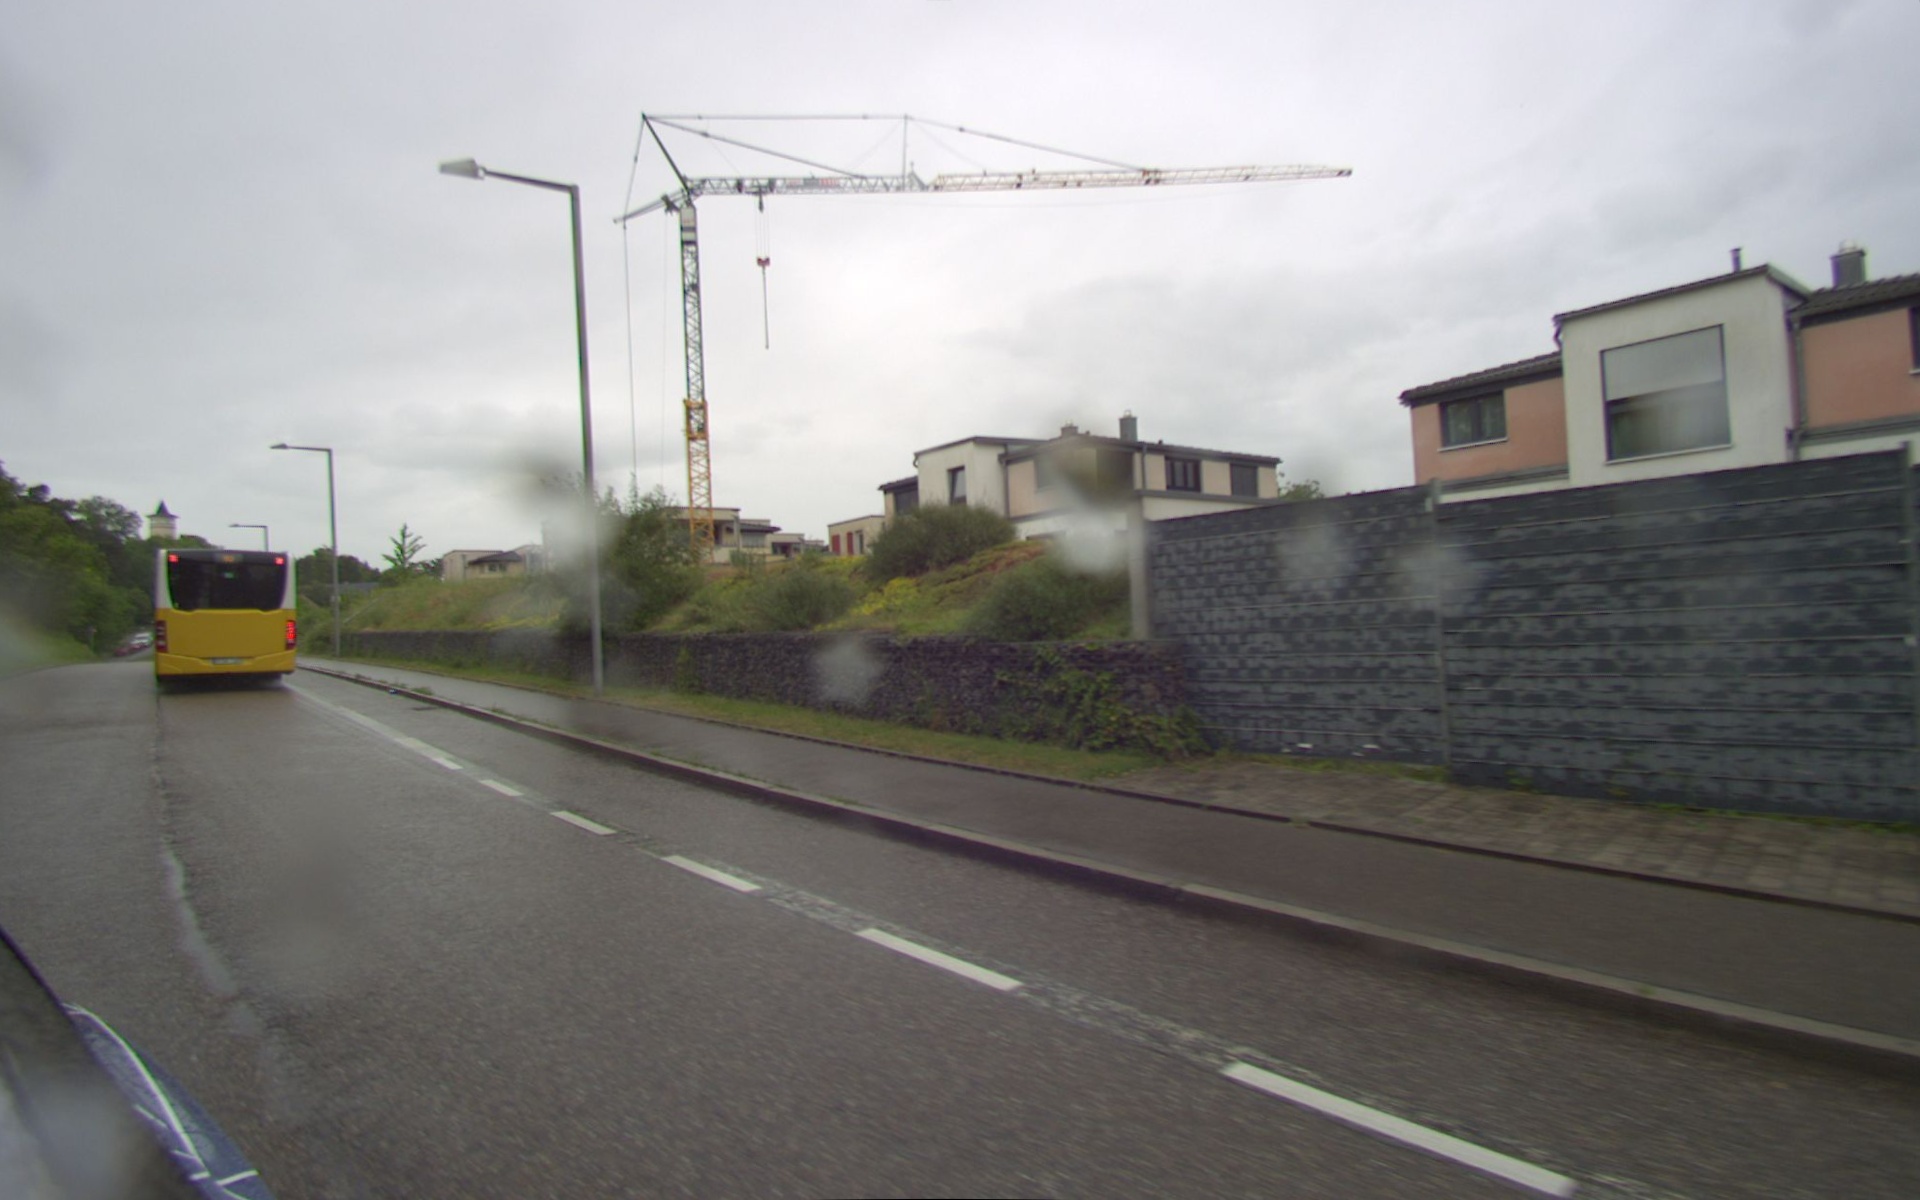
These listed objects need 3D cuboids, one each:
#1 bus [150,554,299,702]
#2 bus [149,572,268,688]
[{"bbox_3d":[-18.173,0.657,24.831,2.606,3.055,7.680,0,-1,-38],"label":"bus"},{"bbox_3d":[-24.023,0.958,32.083,2.606,3.091,10.875,1,-2,-39],"label":"bus"}]
